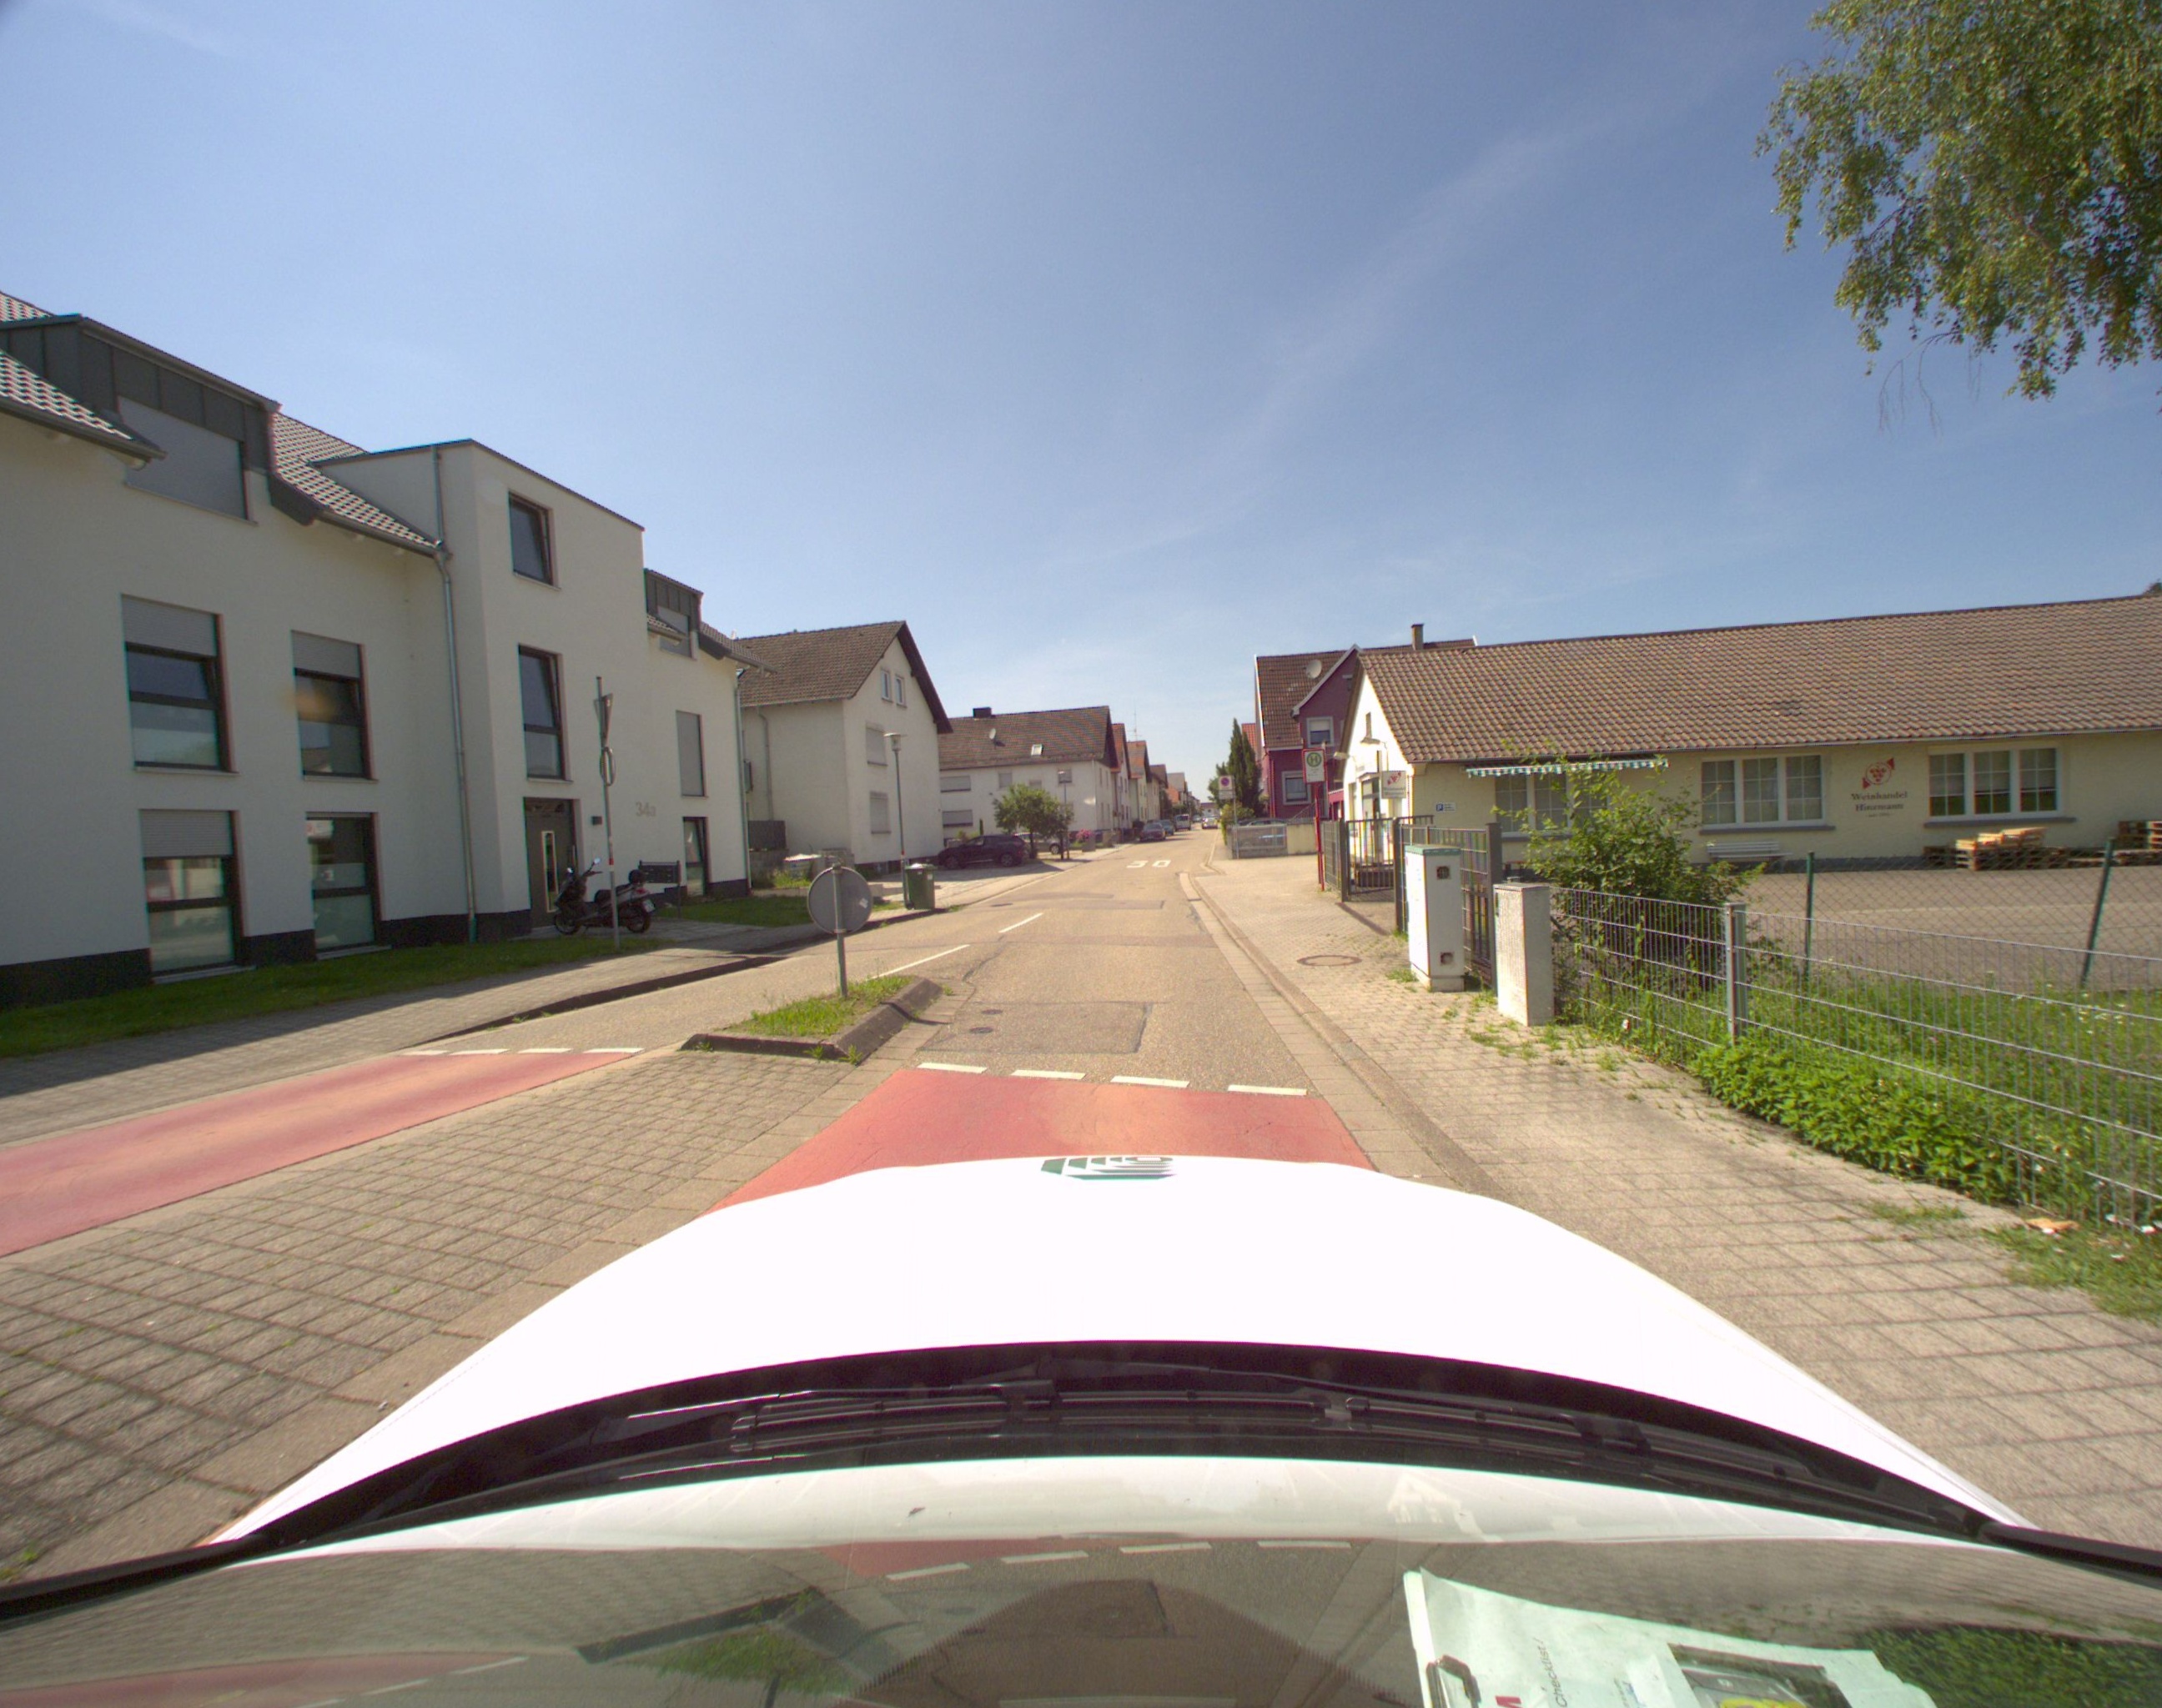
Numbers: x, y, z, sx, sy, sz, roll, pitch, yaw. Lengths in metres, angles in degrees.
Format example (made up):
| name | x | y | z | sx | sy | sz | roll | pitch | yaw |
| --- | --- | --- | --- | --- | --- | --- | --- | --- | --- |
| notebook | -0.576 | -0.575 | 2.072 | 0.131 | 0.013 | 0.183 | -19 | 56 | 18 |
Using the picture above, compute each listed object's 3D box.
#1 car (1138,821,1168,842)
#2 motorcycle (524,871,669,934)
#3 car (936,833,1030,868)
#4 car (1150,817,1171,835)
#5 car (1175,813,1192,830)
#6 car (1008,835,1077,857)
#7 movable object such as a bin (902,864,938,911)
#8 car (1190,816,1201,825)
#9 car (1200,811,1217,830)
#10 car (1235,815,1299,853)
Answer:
| name | x | y | z | sx | sy | sz | roll | pitch | yaw |
| --- | --- | --- | --- | --- | --- | --- | --- | --- | --- |
| car | 5.858 | -1.850 | 65.958 | 1.981 | 1.553 | 4.013 | -2 | 2 | 10 |
| motorcycle | -8.604 | 0.857 | 14.476 | 2.345 | 1.013 | 0.674 | -2 | -1 | 12 |
| car | -4.471 | -0.161 | 37.477 | 3.966 | 1.383 | 1.664 | -3 | 1 | 6 |
| car | 7.814 | -2.740 | 80.446 | 1.915 | 1.604 | 4.005 | -3 | 1 | 4 |
| car | 12.399 | -3.878 | 98.449 | 1.840 | 1.787 | 4.011 | -3 | 0 | 10 |
| car | -2.360 | -0.497 | 50.260 | 3.966 | 1.190 | 1.844 | -2 | 2 | 7 |
| movable object such as a bin | -3.895 | 0.806 | 19.719 | 0.640 | 1.083 | 0.461 | -2 | 1 | 17 |
| car | 24.601 | -7.204 | 175.102 | 1.941 | 1.813 | 4.014 | -1 | 0 | 12 |
| car | 15.571 | -4.100 | 99.575 | 1.940 | 2.072 | 4.011 | -3 | 0 | 9 |
| car | 8.568 | -0.899 | 37.640 | 2.727 | 1.597 | 1.174 | -3 | 0 | 9 |
